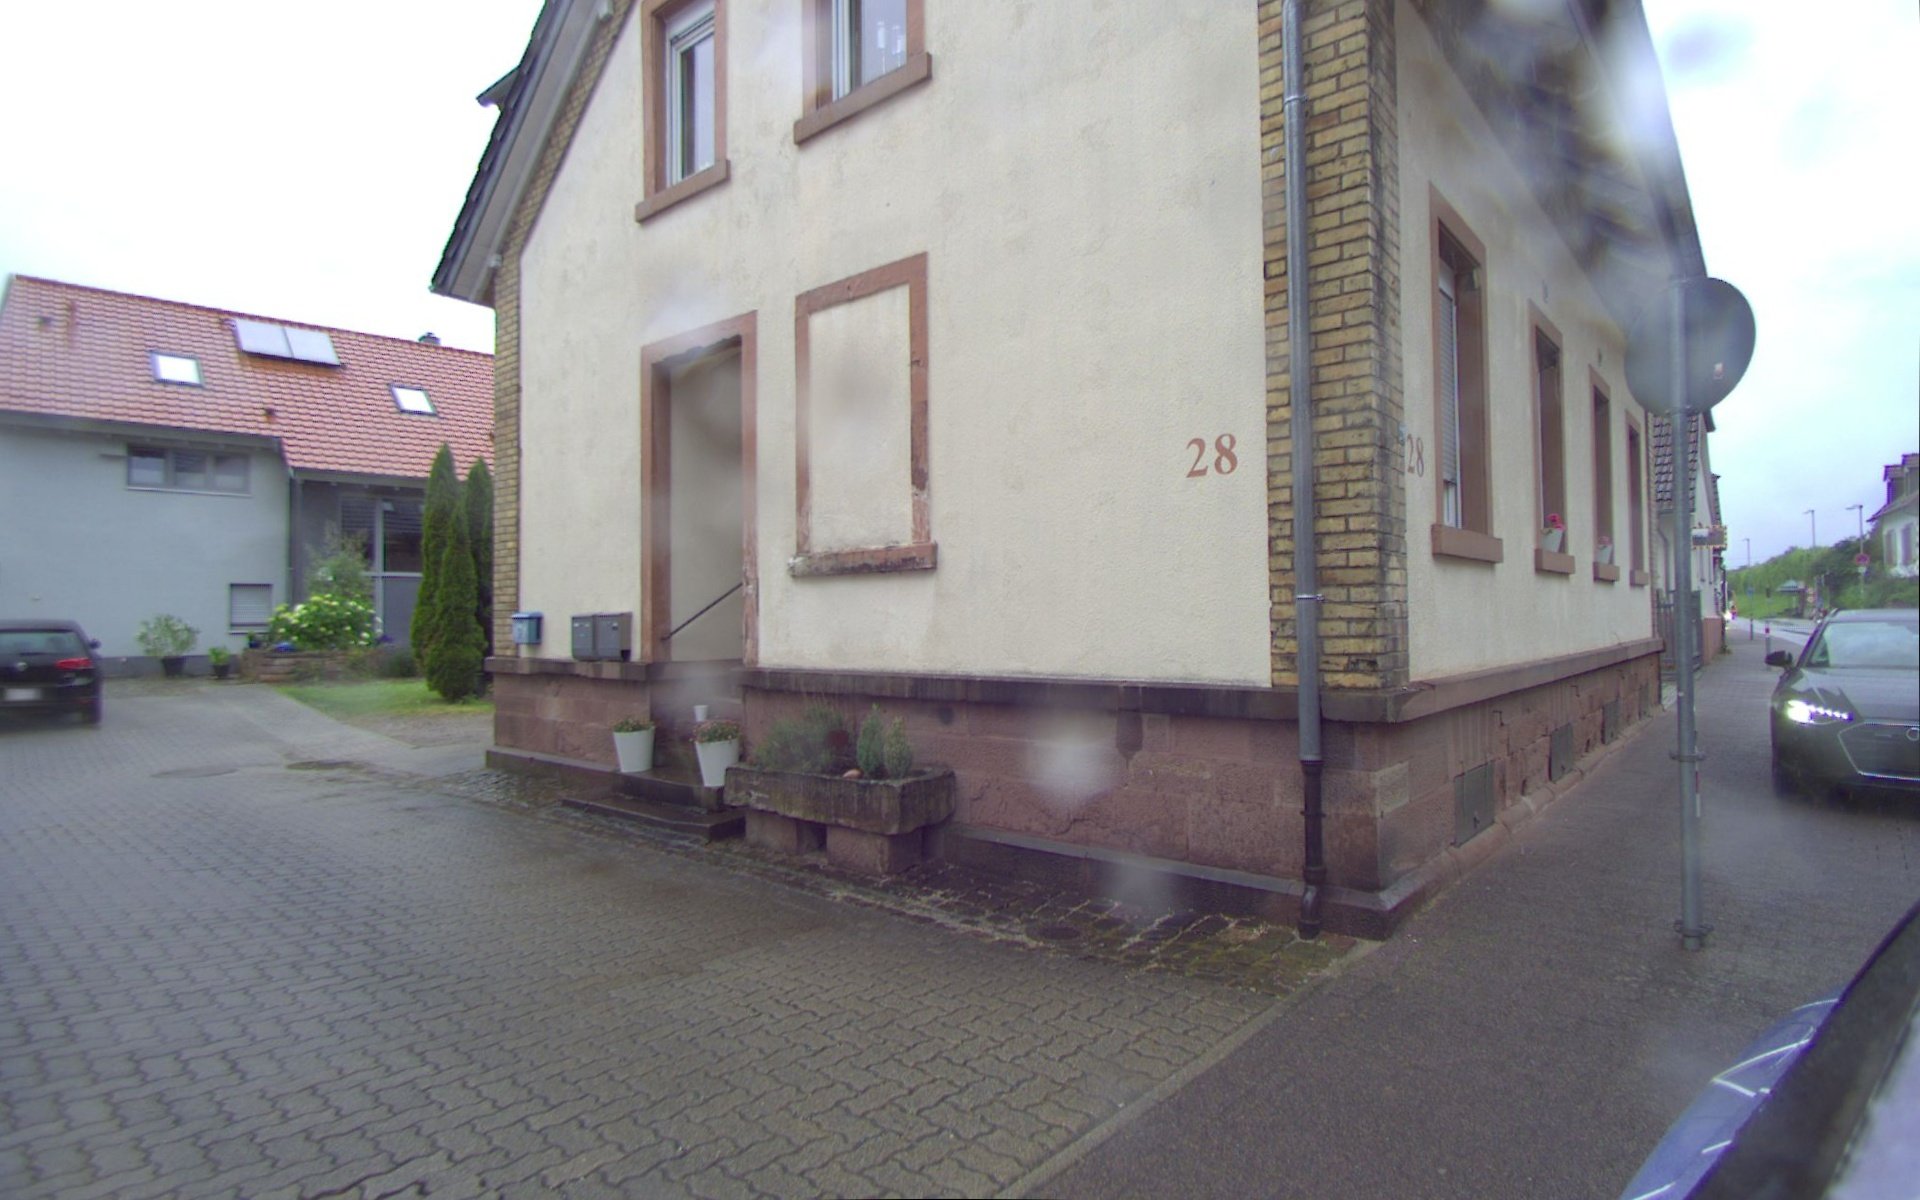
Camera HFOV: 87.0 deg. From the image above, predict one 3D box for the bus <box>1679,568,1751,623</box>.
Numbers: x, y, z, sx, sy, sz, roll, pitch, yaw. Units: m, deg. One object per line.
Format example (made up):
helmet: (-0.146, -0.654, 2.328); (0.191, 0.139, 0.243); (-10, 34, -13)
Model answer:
bus: (52.644, -0.325, 70.878); (3.420, 3.455, 13.697); (-2, -1, 35)

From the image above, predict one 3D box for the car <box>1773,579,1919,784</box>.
car: (7.865, 0.614, 8.295); (1.771, 1.374, 4.129); (-1, -3, 38)

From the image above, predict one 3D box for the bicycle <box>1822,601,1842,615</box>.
bicycle: (58.420, 0.539, 67.811); (0.657, 0.882, 1.913); (-3, -4, 30)

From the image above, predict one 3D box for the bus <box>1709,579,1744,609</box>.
bus: (84.614, -0.628, 111.719); (2.799, 2.977, 11.779); (-3, -2, 37)

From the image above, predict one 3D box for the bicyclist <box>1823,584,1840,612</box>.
bicyclist: (58.333, -0.136, 67.775); (0.653, 1.793, 0.695); (-3, -4, 31)

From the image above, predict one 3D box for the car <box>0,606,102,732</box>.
car: (-13.819, 0.938, 14.966); (1.666, 1.480, 3.569); (-1, 3, -41)
